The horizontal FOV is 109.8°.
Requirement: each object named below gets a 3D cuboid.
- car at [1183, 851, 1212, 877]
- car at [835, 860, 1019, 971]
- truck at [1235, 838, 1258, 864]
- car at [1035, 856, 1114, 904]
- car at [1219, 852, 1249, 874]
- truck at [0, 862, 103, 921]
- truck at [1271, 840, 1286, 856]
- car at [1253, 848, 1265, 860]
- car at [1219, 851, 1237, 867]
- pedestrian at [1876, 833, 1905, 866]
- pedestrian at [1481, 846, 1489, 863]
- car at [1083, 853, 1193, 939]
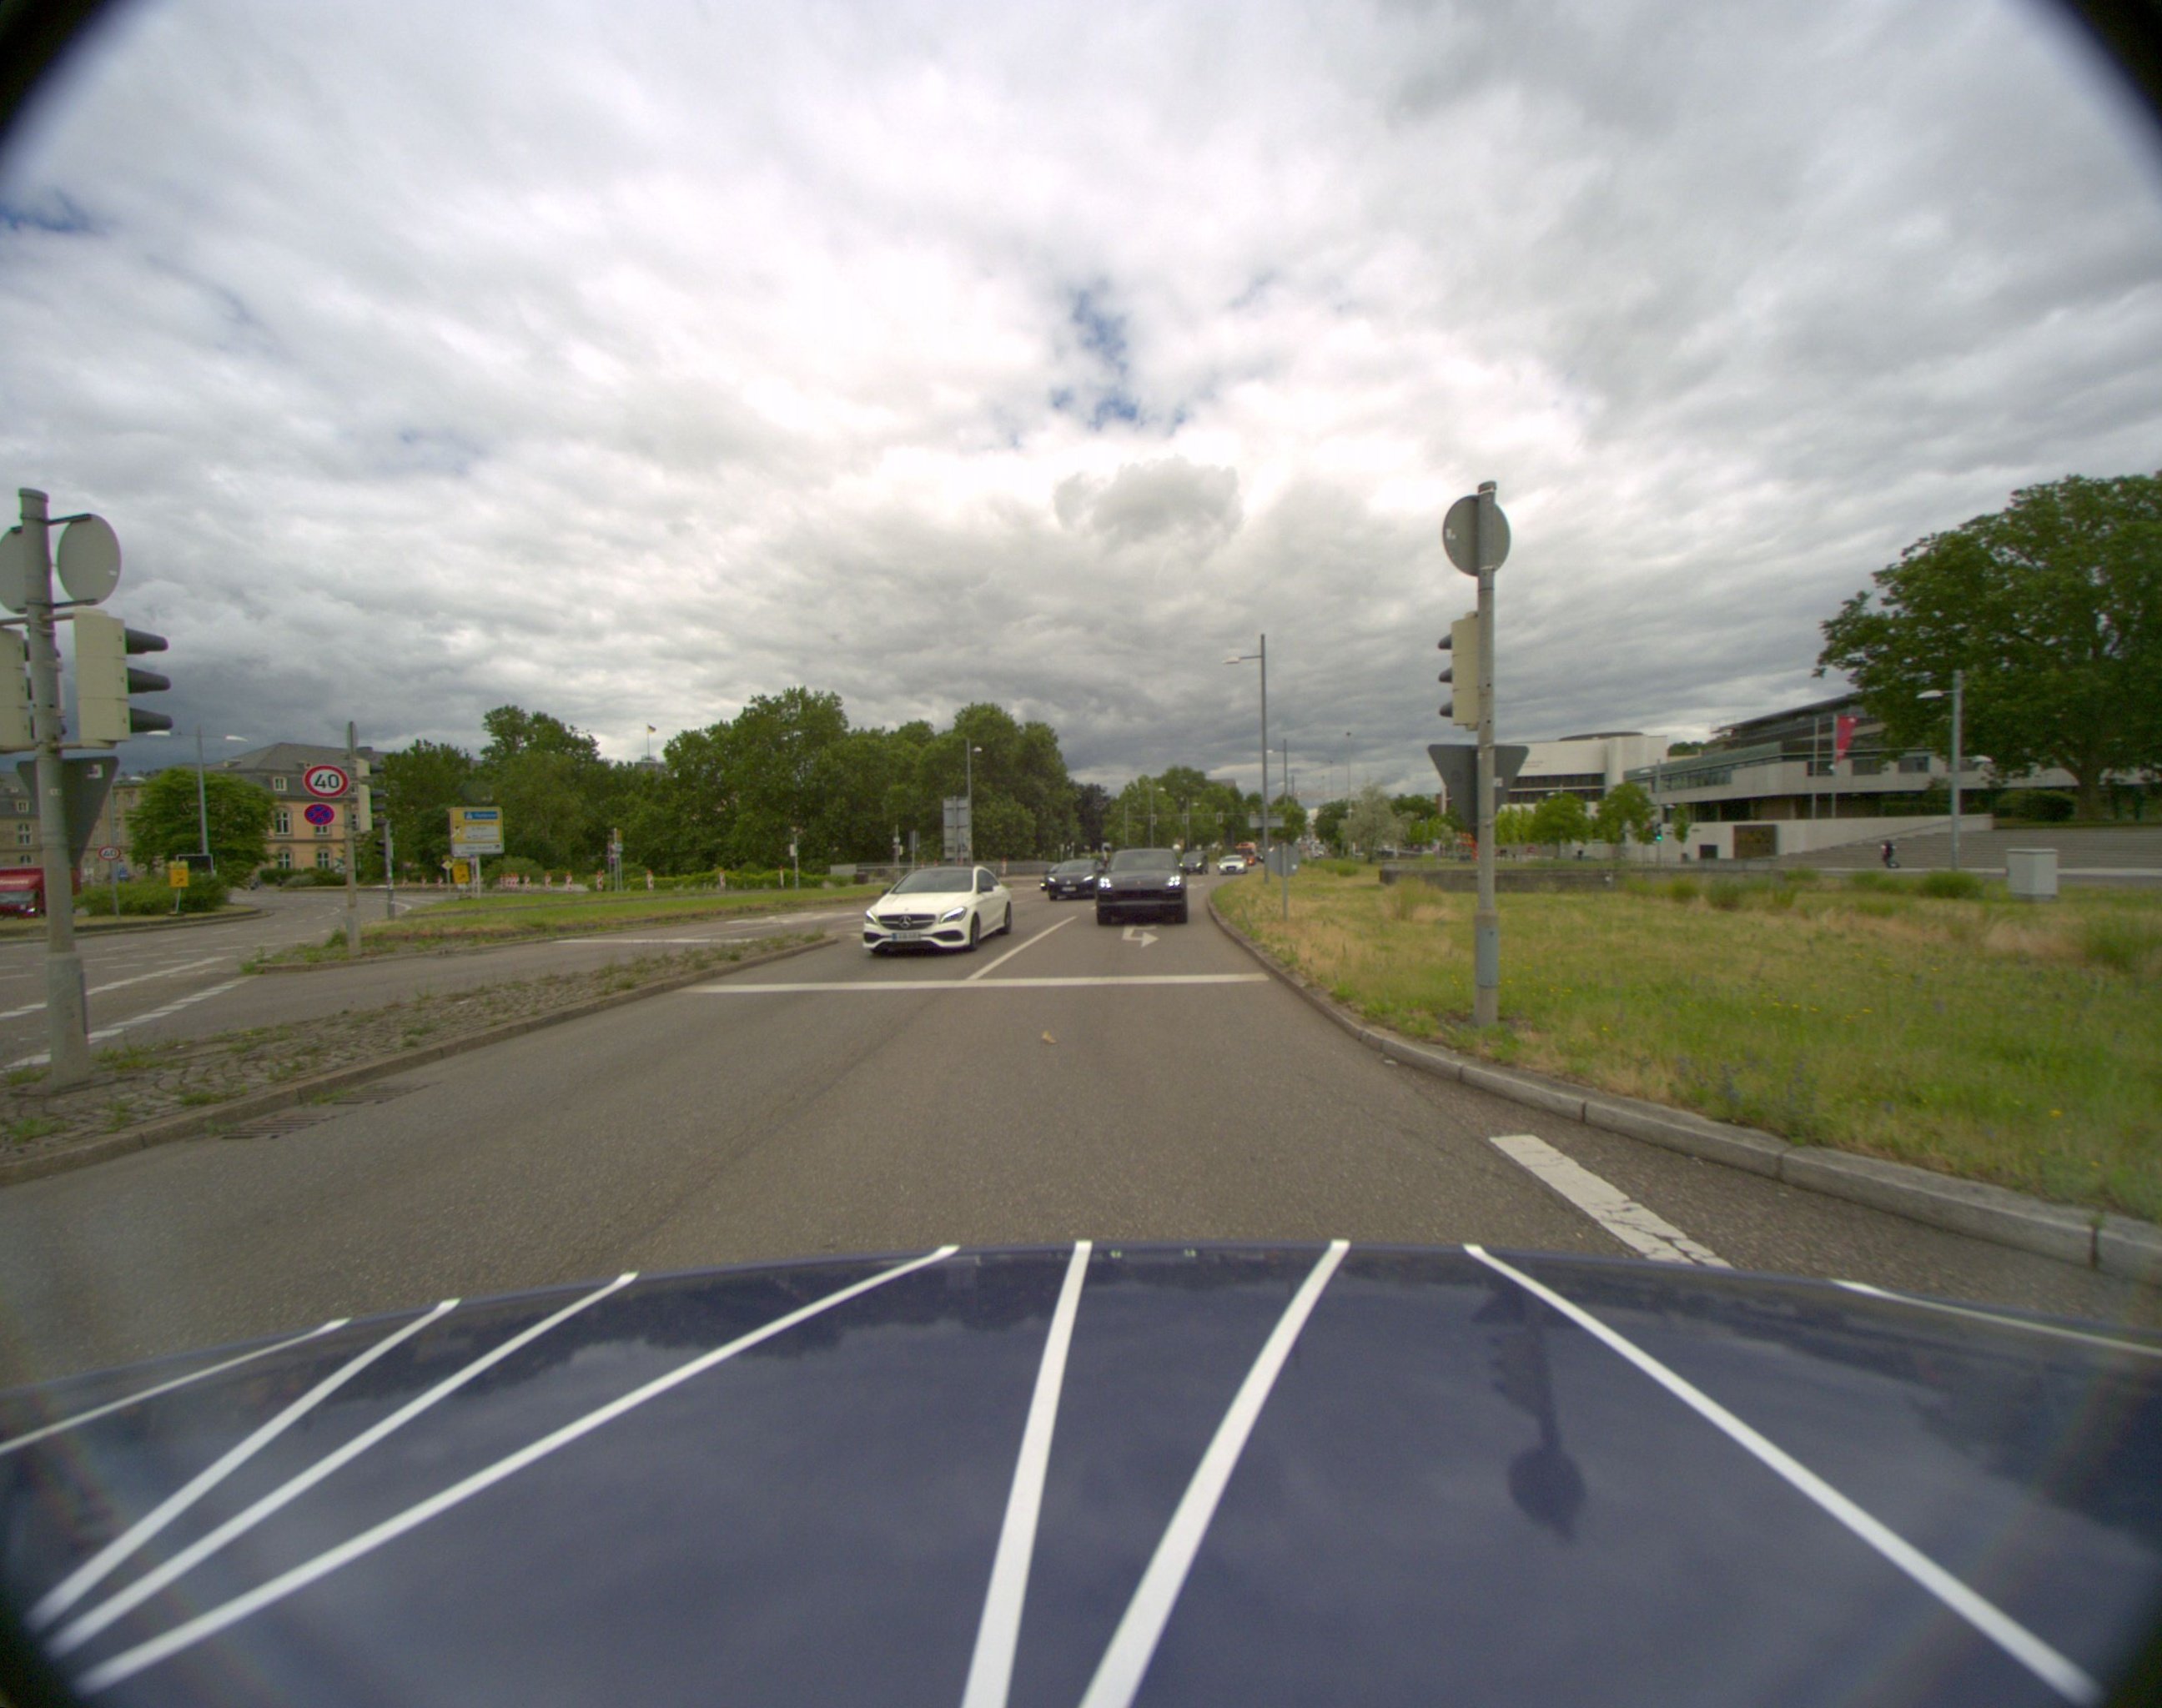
[{"bbox_3d":[9.717,0.808,63.340,1.857,1.976,4.646,-1,1,15],"label":"car"},{"bbox_3d":[-2.485,0.941,13.599,1.869,1.560,4.654,-2,0,6],"label":"car"},{"bbox_3d":[24.327,-0.456,111.242,2.723,3.595,9.188,-2,0,15],"label":"truck"},{"bbox_3d":[-0.145,0.931,29.266,1.997,1.537,4.572,-2,1,12],"label":"car"},{"bbox_3d":[11.992,0.652,59.512,2.093,1.600,4.416,-1,1,14],"label":"car"},{"bbox_3d":[-67.590,2.359,49.736,2.797,3.469,8.327,-2,1,-42],"label":"truck"},{"bbox_3d":[34.463,-1.046,132.509,1.952,2.767,5.797,-2,0,20],"label":"truck"},{"bbox_3d":[29.577,-0.060,126.226,1.780,1.897,3.803,-1,0,16],"label":"car"},{"bbox_3d":[17.005,0.554,87.792,1.857,1.729,3.744,-2,0,14],"label":"car"},{"bbox_3d":[44.383,-0.256,41.667,0.682,1.738,0.892,-2,1,11],"label":"pedestrian"},{"bbox_3d":[38.506,0.012,72.428,0.446,1.625,0.470,-2,1,-13],"label":"pedestrian"},{"bbox_3d":[1.472,0.829,17.417,2.003,1.629,5.024,-2,0,9],"label":"car"}]
